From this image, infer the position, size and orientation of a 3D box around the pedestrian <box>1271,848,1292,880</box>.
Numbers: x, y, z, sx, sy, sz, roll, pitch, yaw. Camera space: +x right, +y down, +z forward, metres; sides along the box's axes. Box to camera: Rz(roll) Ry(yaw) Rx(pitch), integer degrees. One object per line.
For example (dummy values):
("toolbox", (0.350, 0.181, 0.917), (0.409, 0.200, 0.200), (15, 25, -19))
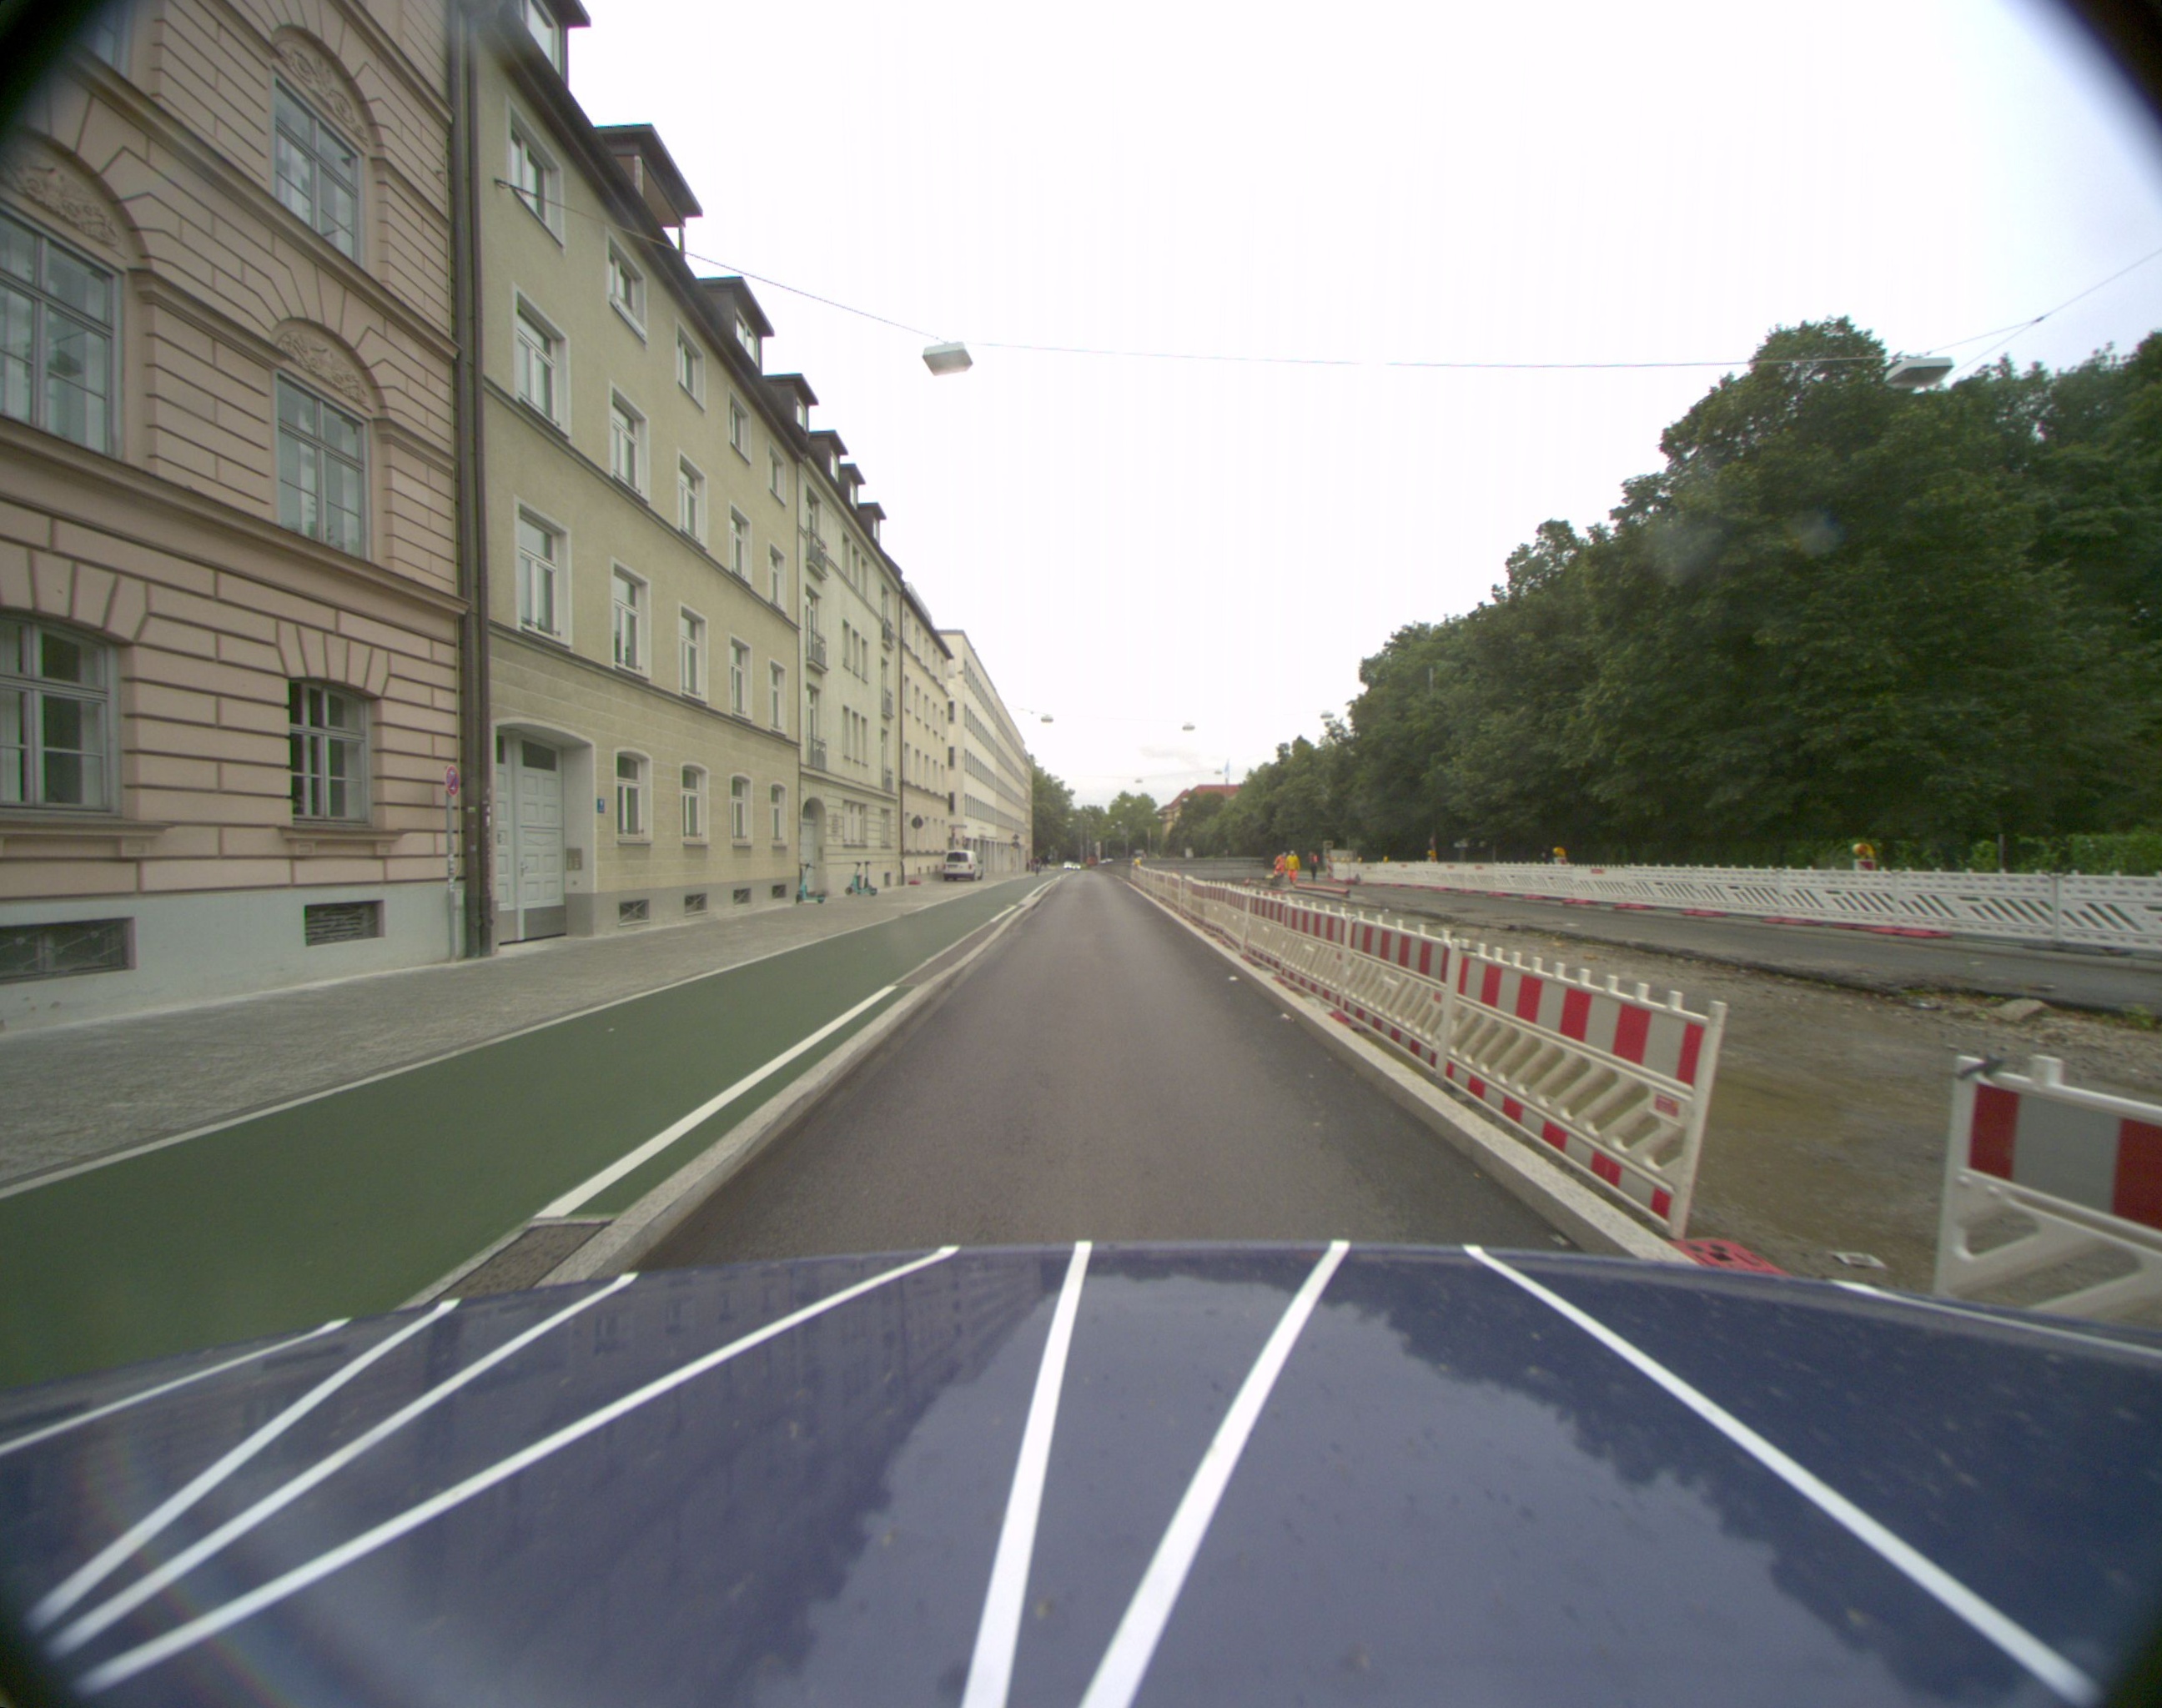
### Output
("pedestrian", (10.832, 0.534, 41.072), (0.900, 1.678, 0.911), (0, 1, 3))

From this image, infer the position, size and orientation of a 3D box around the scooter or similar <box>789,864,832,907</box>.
("scooter or similar", (-8.122, 0.923, 22.827), (0.552, 1.238, 1.079), (0, 1, 35))

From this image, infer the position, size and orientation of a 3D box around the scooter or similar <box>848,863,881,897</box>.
("scooter or similar", (-7.889, 0.937, 27.647), (1.078, 1.185, 0.453), (0, 1, -29))

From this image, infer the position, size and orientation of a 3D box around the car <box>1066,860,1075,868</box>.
("car", (-2.581, 2.501, 189.730), (1.998, 2.002, 3.999), (-2, 1, 1))

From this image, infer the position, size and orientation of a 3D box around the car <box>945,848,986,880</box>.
("car", (-6.851, 0.553, 45.370), (1.766, 1.821, 4.000), (-1, 0, 0))

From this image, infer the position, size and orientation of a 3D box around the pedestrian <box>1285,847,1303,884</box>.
("pedestrian", (10.692, 0.560, 38.098), (0.859, 1.826, 0.876), (0, 1, 17))

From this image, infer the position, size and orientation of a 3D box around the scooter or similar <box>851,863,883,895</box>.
("scooter or similar", (-8.148, 0.947, 28.984), (1.079, 1.185, 0.436), (-1, 1, -39))

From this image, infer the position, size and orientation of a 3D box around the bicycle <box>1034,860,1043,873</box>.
("bicycle", (-3.575, 1.033, 64.206), (0.632, 1.031, 2.016), (0, 0, -6))

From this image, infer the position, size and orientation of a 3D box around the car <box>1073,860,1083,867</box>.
("car", (-0.645, 1.975, 162.636), (1.759, 1.461, 3.998), (-2, 0, -5))

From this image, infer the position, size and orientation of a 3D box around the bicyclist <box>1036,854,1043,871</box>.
("bicyclist", (-3.508, 0.727, 64.226), (0.632, 1.459, 0.652), (0, 1, -6))

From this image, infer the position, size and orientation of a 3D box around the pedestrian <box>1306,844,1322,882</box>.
("pedestrian", (12.172, 0.466, 39.637), (0.666, 1.959, 0.807), (0, 1, 26))
